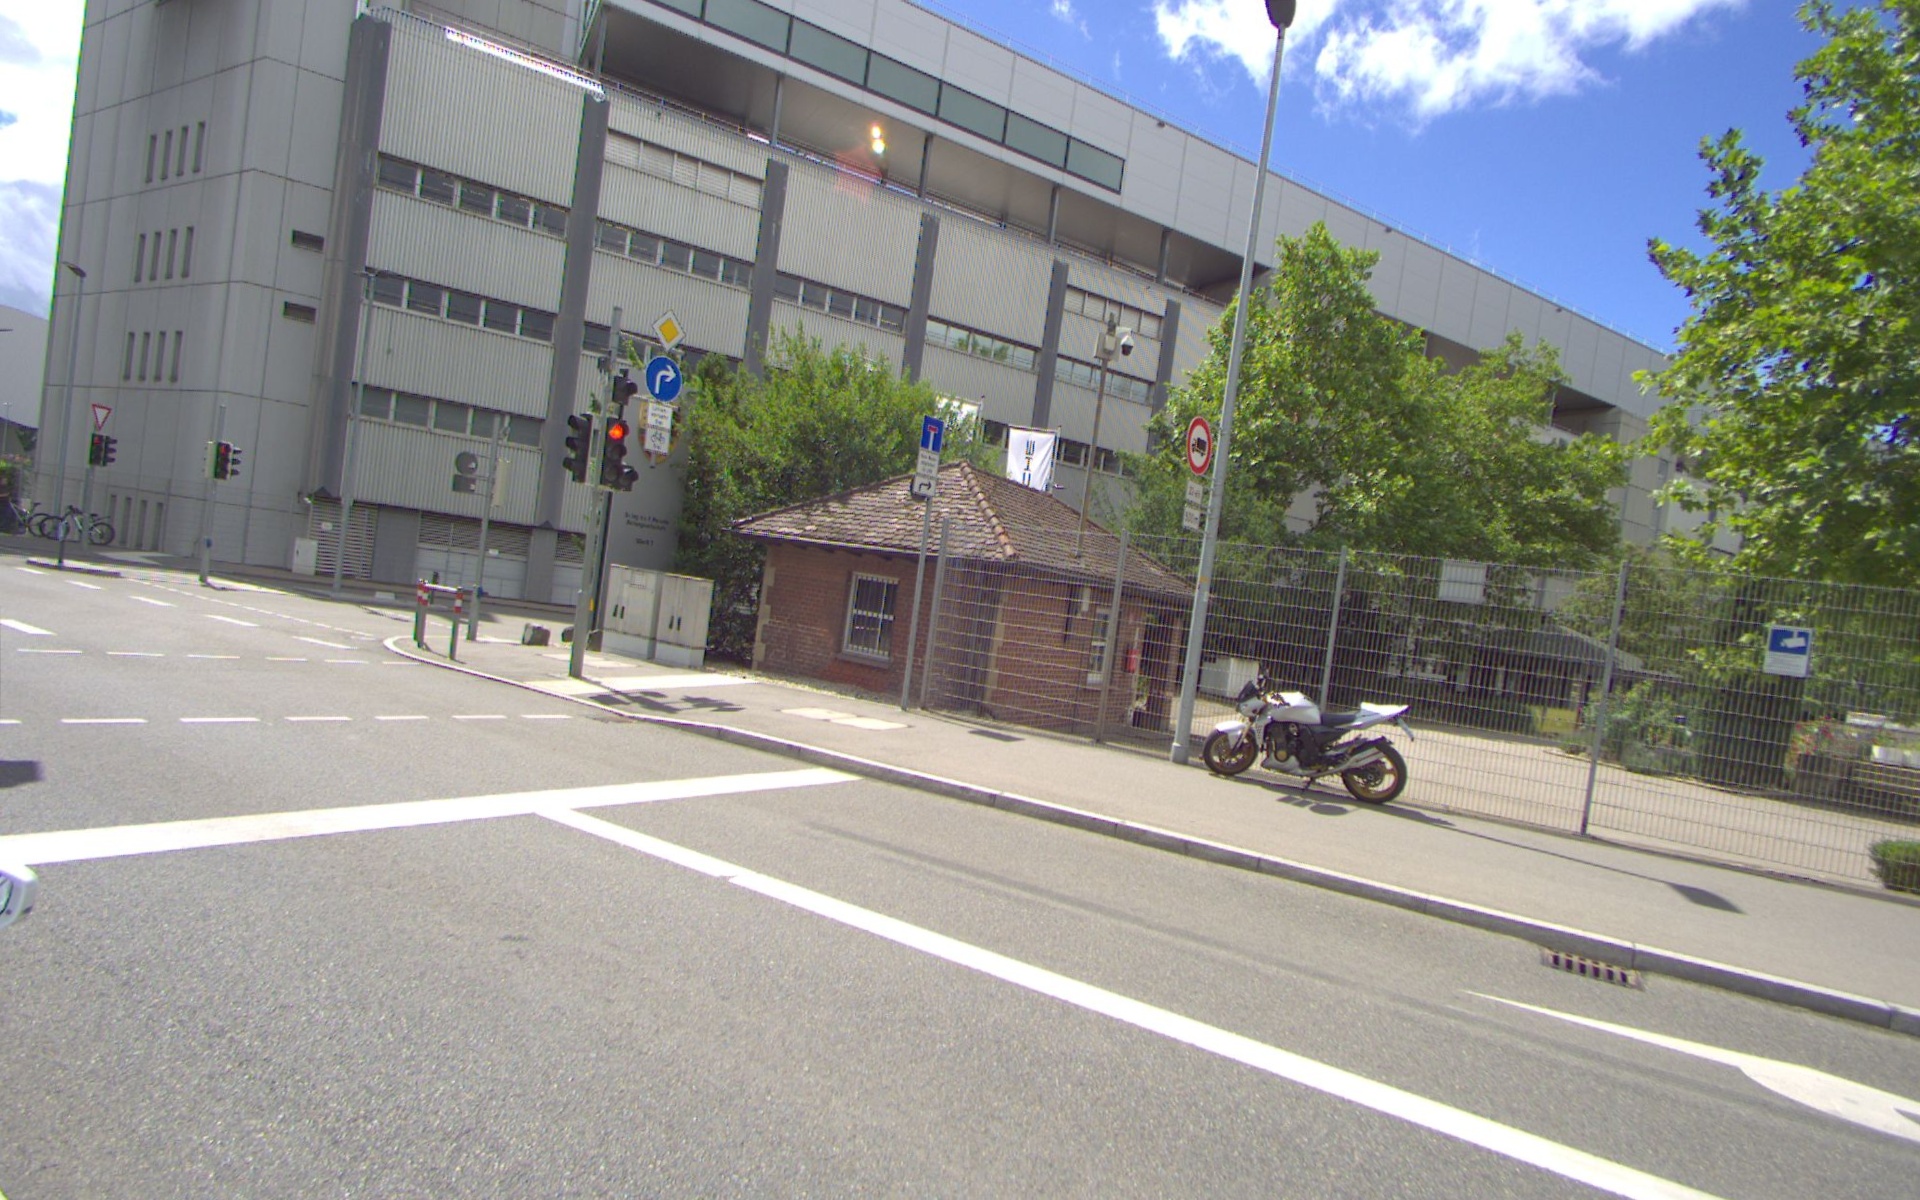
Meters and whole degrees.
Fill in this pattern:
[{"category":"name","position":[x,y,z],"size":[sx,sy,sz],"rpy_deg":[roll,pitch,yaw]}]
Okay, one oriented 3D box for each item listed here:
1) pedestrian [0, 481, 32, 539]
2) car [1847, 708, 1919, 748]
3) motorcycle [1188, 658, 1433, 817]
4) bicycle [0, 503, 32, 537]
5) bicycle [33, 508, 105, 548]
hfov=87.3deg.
[{"category":"pedestrian","position":[-28.602,-2.719,30.044],"size":[0.837,1.644,0.953],"rpy_deg":[7,0,-17]},{"category":"car","position":[53.051,7.302,56.787],"size":[1.979,1.803,3.971],"rpy_deg":[8,-2,-30]},{"category":"motorcycle","position":[3.456,1.306,9.987],"size":[2.110,1.173,0.693],"rpy_deg":[7,2,27]},{"category":"bicycle","position":[-29.676,-2.533,31.072],"size":[1.891,0.948,0.399],"rpy_deg":[7,0,13]},{"category":"bicycle","position":[-27.252,-2.199,30.756],"size":[1.892,0.948,0.399],"rpy_deg":[7,0,6]}]
